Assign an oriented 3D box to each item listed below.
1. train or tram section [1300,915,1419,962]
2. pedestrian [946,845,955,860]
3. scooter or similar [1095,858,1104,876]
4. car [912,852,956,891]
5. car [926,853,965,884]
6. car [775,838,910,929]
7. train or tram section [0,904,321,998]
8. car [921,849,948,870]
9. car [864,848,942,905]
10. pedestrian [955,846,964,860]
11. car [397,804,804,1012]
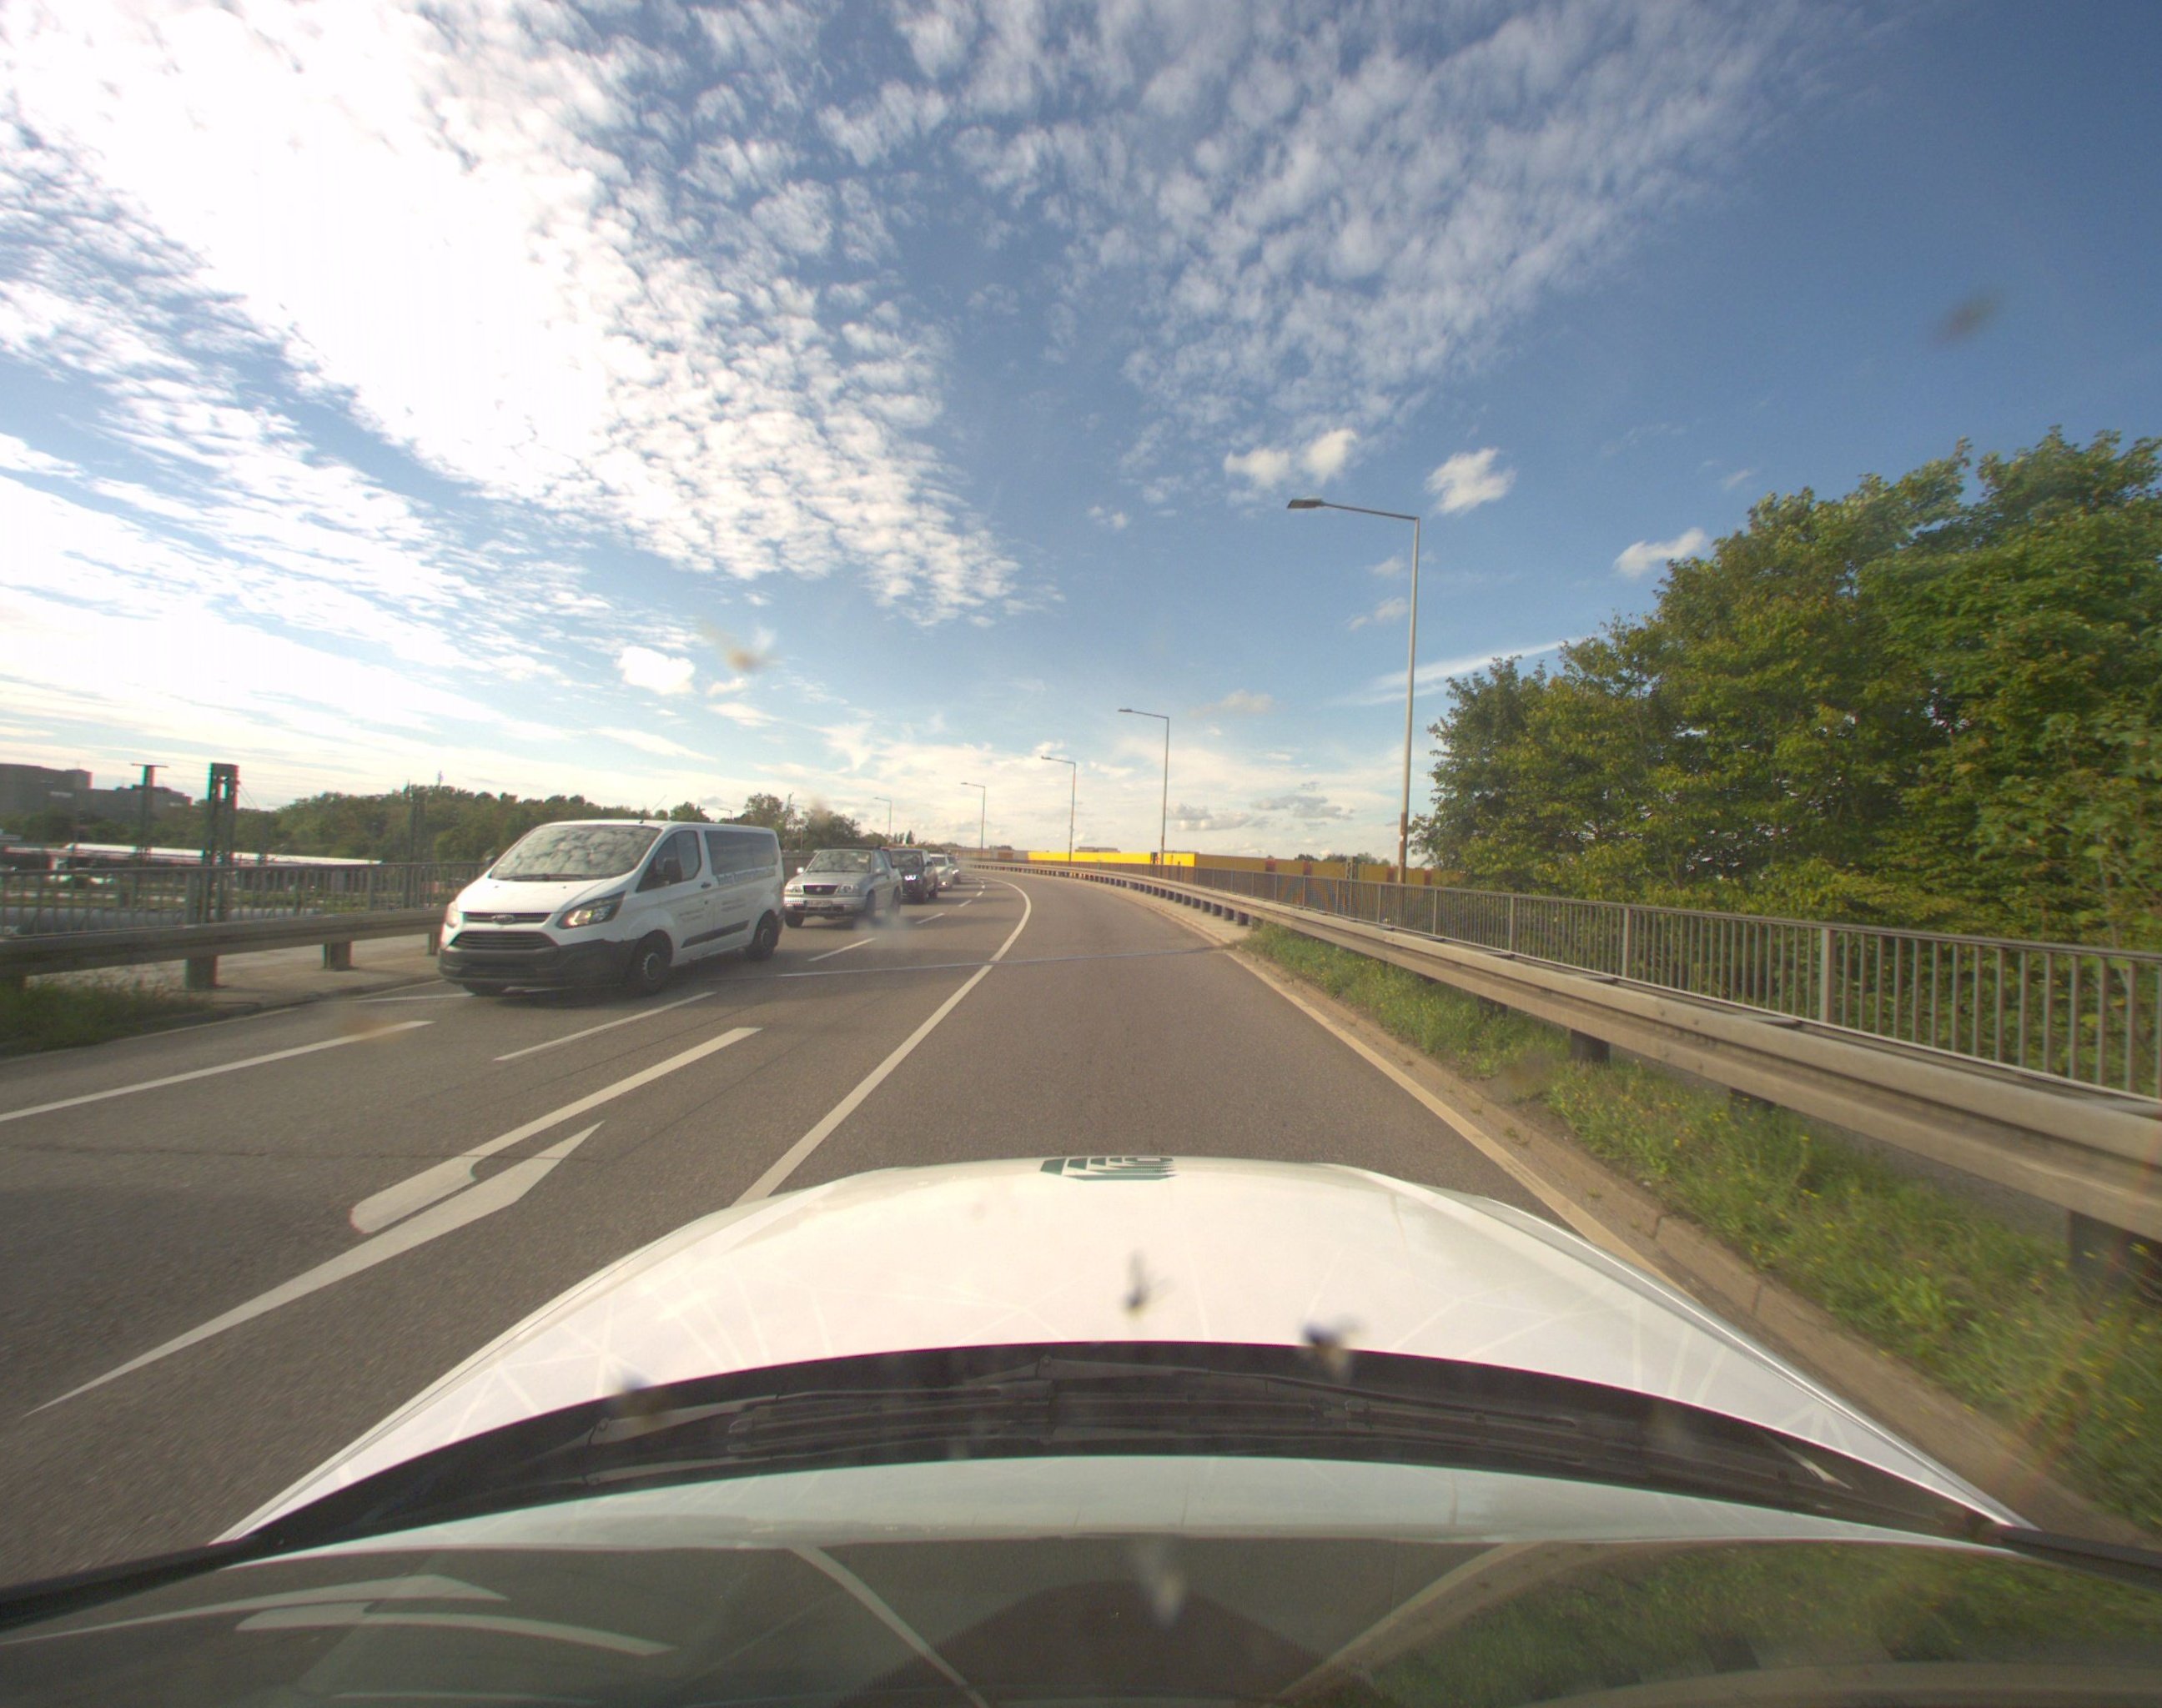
[{"bbox_3d":[33.803,9.993,98.189,16.793,4.712,3.068,1,-1,-29],"label":"train or tram section"},{"bbox_3d":[-14.054,-0.145,87.866,0.680,1.661,0.857,1,-1,-29],"label":"pedestrian"},{"bbox_3d":[1.198,0.840,52.471,0.265,1.162,1.183,1,0,-13],"label":"scooter or similar"},{"bbox_3d":[-6.126,0.682,34.205,1.682,1.545,3.912,0,0,-8],"label":"car"},{"bbox_3d":[-6.938,0.695,41.445,1.814,1.456,4.309,0,0,-11],"label":"car"},{"bbox_3d":[-5.024,0.565,17.680,1.768,1.746,3.837,0,0,0],"label":"car"},{"bbox_3d":[-56.509,5.561,48.004,16.790,4.712,3.069,1,-1,-28],"label":"train or tram section"},{"bbox_3d":[-11.329,0.402,62.711,1.762,1.489,4.423,0,0,-14],"label":"car"},{"bbox_3d":[-5.608,0.646,26.181,1.867,1.666,4.621,0,0,-5],"label":"car"},{"bbox_3d":[-13.201,-0.136,88.398,0.680,1.543,0.952,1,-1,-29],"label":"pedestrian"},{"bbox_3d":[-5.430,0.499,10.257,1.977,1.964,5.050,0,0,2],"label":"car"}]
